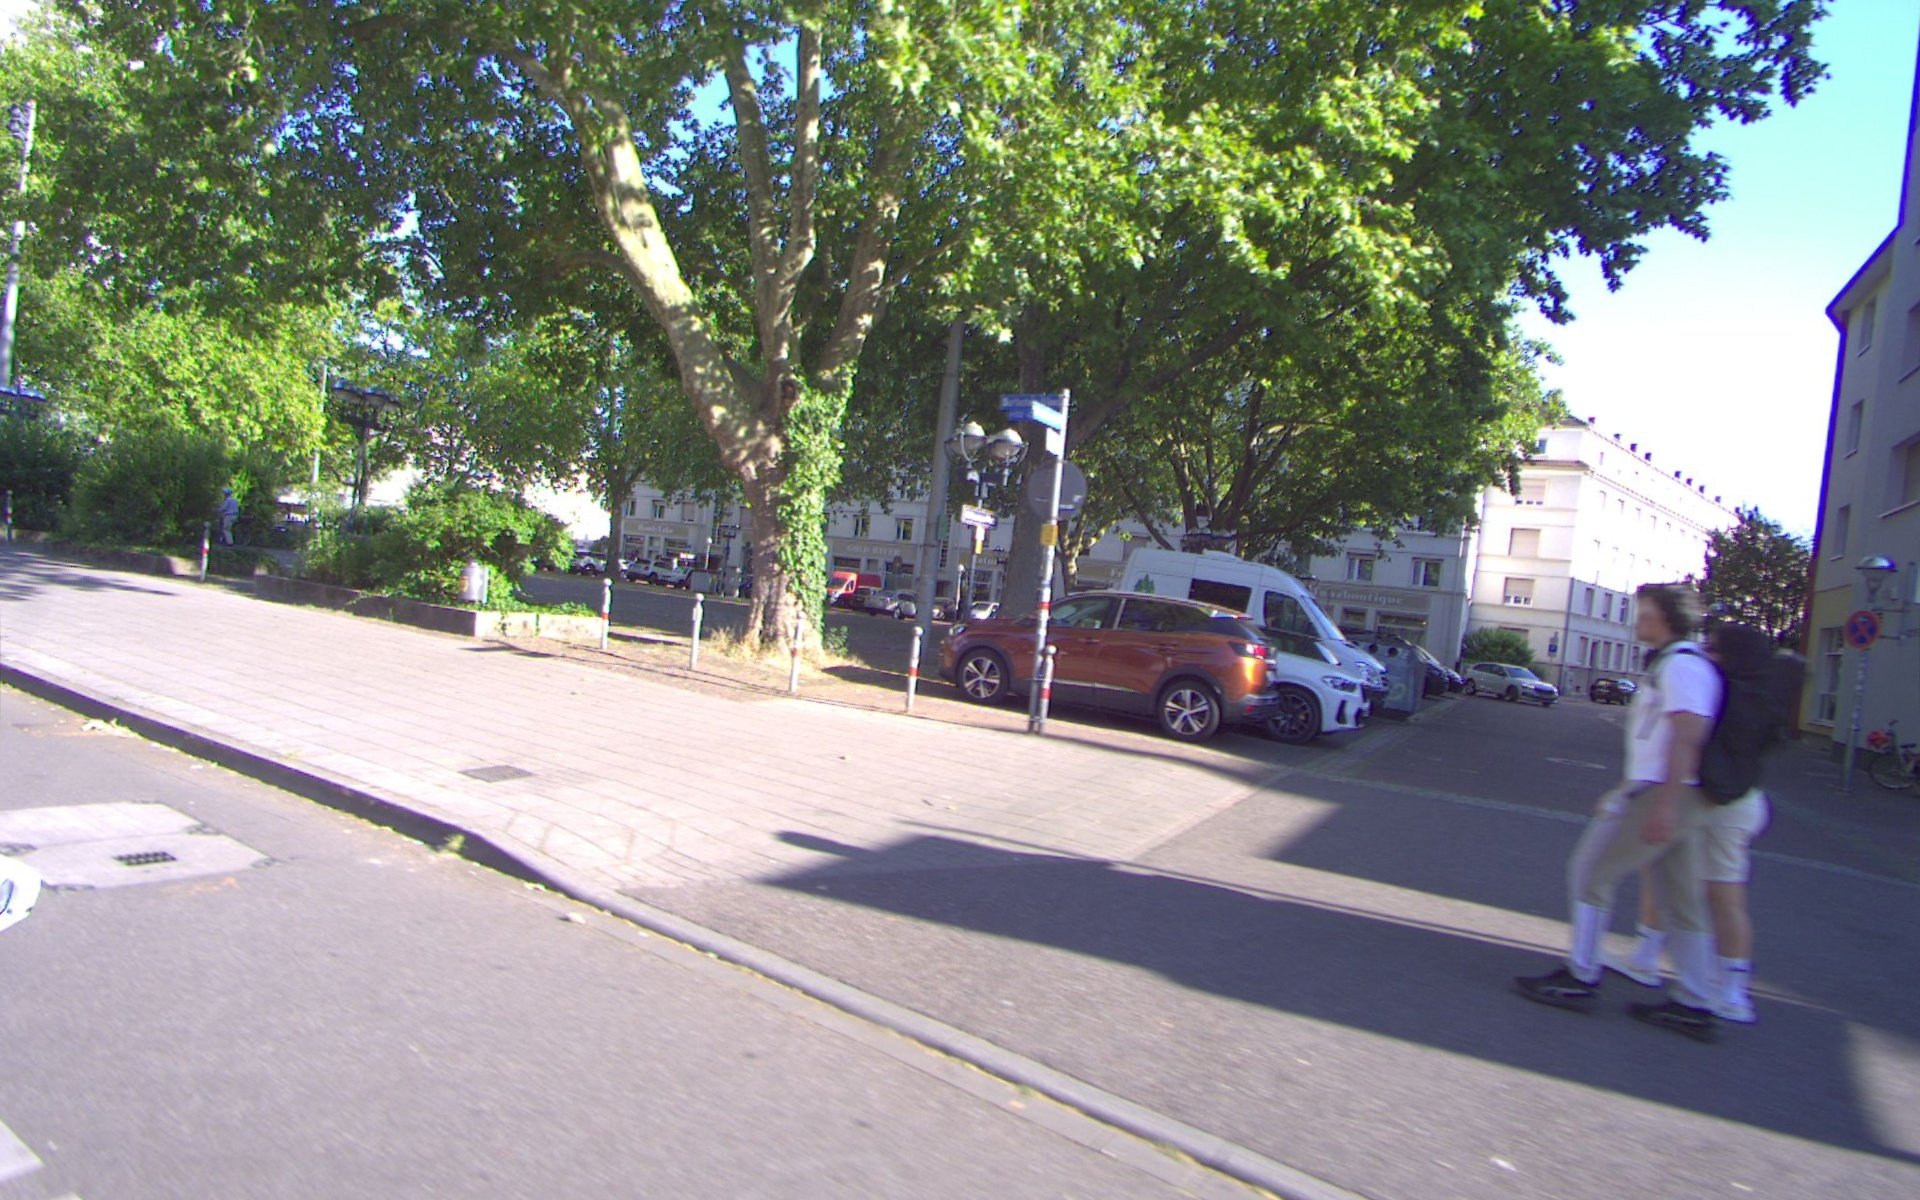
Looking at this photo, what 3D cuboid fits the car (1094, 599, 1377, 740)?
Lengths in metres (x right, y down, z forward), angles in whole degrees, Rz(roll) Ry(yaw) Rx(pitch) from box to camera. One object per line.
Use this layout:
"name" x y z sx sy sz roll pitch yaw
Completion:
"car" 4.435 1.055 16.305 3.932 1.590 1.862 8 1 30

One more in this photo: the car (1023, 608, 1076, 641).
"car" 5.528 1.514 61.560 1.786 1.553 4.000 7 -2 26

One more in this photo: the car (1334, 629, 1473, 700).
"car" 17.542 2.524 39.847 4.670 2.039 1.996 9 2 30

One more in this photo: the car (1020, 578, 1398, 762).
"car" 3.465 0.882 14.304 4.716 1.757 1.862 8 1 30

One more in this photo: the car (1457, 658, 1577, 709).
"car" 23.000 3.427 41.750 1.967 1.395 4.313 8 1 -10

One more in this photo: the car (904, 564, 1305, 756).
"car" 1.786 0.664 12.816 4.580 1.622 1.820 8 1 27

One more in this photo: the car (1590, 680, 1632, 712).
"car" 37.480 5.559 57.890 1.702 1.486 3.688 7 -2 36

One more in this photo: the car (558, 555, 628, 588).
"car" -24.253 -1.877 66.550 1.966 1.705 3.895 7 1 29

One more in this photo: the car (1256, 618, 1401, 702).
"car" 11.393 1.828 31.334 3.925 2.039 2.000 7 1 18

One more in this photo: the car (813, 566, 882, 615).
"car" -7.768 -0.627 70.022 2.022 2.656 5.081 7 -2 27

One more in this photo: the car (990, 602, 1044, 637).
"car" 3.595 1.215 62.634 1.786 1.678 4.000 7 -2 26

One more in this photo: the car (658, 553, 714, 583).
"car" -21.001 -2.450 77.307 1.786 1.678 4.000 7 -2 26

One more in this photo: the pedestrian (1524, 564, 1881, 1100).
"pedestrian" 2.822 0.802 3.923 0.865 1.801 0.602 7 5 34

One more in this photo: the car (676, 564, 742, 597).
"car" -15.507 -1.195 62.388 1.829 1.638 3.997 7 0 22

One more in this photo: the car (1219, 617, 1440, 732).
"car" 7.667 1.494 20.891 3.931 1.761 1.997 7 0 28

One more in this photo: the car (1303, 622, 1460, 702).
"car" 14.873 2.163 35.562 4.670 2.039 1.996 9 2 30

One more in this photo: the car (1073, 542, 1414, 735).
"car" 5.371 0.634 19.394 5.699 2.869 2.243 7 1 30

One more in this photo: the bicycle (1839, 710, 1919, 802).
"bicycle" 15.090 2.490 15.978 0.821 1.224 2.132 7 0 19

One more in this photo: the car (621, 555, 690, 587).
"car" -19.454 -1.820 64.479 1.829 1.638 4.293 7 0 21

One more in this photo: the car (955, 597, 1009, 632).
"car" 1.415 0.945 63.724 1.786 1.678 4.000 7 -2 26

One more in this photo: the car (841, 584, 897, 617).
"car" -6.102 0.027 67.890 1.786 1.678 4.000 7 -2 26

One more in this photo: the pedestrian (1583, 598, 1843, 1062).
"pedestrian" 3.243 0.923 4.406 0.679 1.801 0.602 7 5 34

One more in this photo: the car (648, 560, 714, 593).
"car" -17.523 -1.468 63.446 1.829 1.638 3.997 7 0 22

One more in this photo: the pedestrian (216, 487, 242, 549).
"pedestrian" -23.054 -2.579 31.724 0.334 1.887 0.392 7 -1 36

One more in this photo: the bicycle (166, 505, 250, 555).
"bicycle" -23.657 -2.186 31.710 0.446 1.254 2.330 7 -2 9
